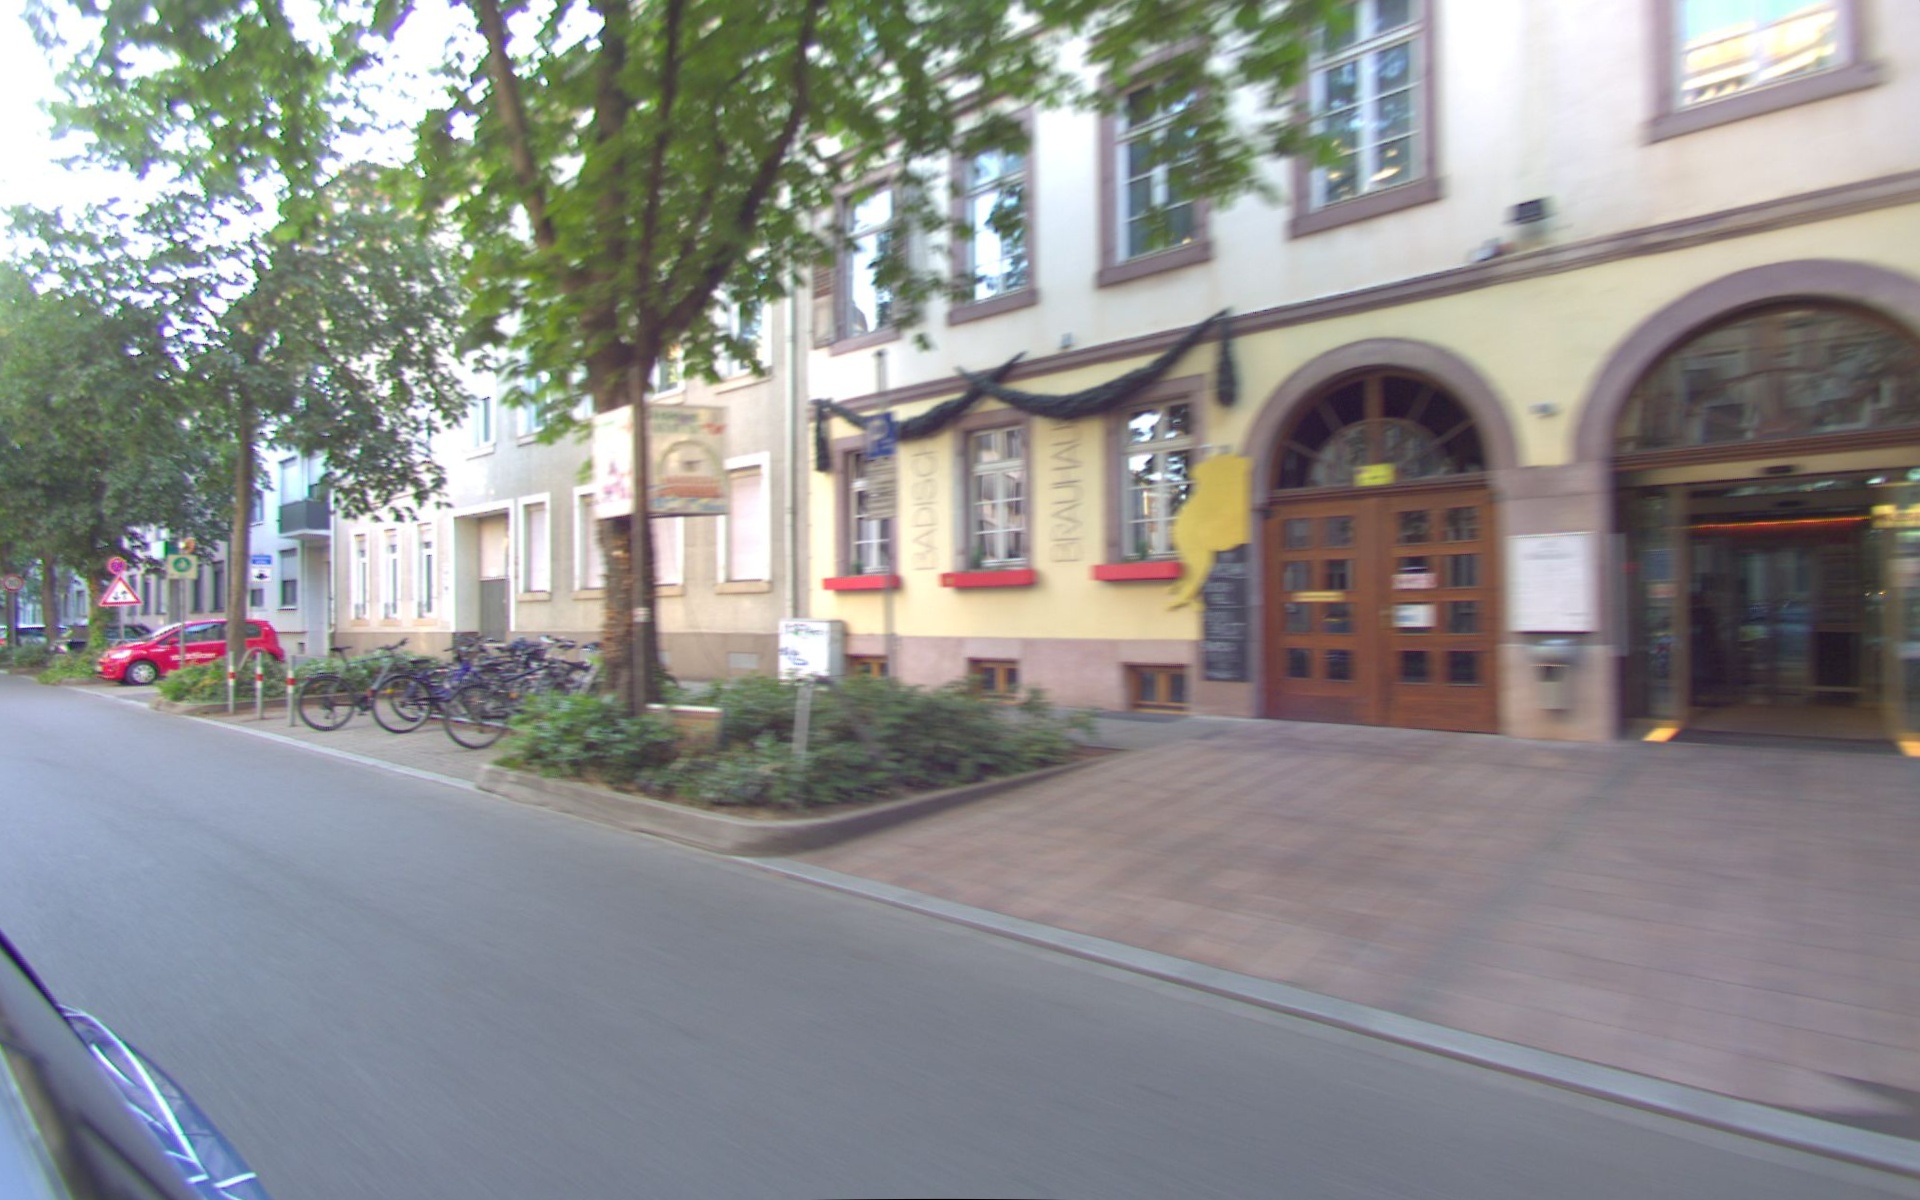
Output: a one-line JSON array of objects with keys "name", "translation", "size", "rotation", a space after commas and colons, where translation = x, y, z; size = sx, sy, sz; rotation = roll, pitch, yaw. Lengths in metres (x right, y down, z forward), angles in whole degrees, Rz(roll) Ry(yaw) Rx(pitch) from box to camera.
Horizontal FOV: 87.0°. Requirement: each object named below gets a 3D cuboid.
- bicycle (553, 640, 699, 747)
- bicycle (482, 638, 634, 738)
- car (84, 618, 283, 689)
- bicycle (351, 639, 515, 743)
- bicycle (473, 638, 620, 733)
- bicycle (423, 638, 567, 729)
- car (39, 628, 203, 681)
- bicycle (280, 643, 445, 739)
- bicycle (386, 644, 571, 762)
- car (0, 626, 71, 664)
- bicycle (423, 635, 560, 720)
[{"name": "bicycle", "translation": [-3.956, 1.074, 12.100], "size": [0.479, 1.107, 1.692], "rotation": [-1, 0, 35]}, {"name": "bicycle", "translation": [-5.105, 1.087, 12.967], "size": [0.479, 1.107, 1.847], "rotation": [-1, 0, 35]}, {"name": "car", "translation": [-18.434, 1.226, 24.136], "size": [1.671, 1.416, 3.455], "rotation": [-2, 0, 38]}, {"name": "bicycle", "translation": [-6.724, 1.127, 12.998], "size": [0.479, 1.153, 1.848], "rotation": [-1, 0, 34]}, {"name": "bicycle", "translation": [-5.507, 1.107, 13.587], "size": [0.508, 1.107, 1.847], "rotation": [-1, 0, 35]}, {"name": "bicycle", "translation": [-6.502, 1.135, 14.255], "size": [0.479, 1.107, 1.847], "rotation": [-1, 0, 35]}, {"name": "car", "translation": [-24.786, 1.576, 29.993], "size": [1.589, 1.430, 3.508], "rotation": [-1, -2, 38]}, {"name": "bicycle", "translation": [-7.896, 1.167, 13.454], "size": [0.479, 1.106, 1.848], "rotation": [-1, 0, 34]}, {"name": "bicycle", "translation": [-5.266, 1.086, 11.190], "size": [0.479, 1.107, 1.847], "rotation": [-1, 0, 35]}, {"name": "car", "translation": [-39.119, 1.895, 41.701], "size": [1.590, 1.430, 3.506], "rotation": [-2, 0, 41]}, {"name": "bicycle", "translation": [-6.954, 1.119, 15.113], "size": [0.479, 1.107, 1.847], "rotation": [-1, 0, 35]}]
